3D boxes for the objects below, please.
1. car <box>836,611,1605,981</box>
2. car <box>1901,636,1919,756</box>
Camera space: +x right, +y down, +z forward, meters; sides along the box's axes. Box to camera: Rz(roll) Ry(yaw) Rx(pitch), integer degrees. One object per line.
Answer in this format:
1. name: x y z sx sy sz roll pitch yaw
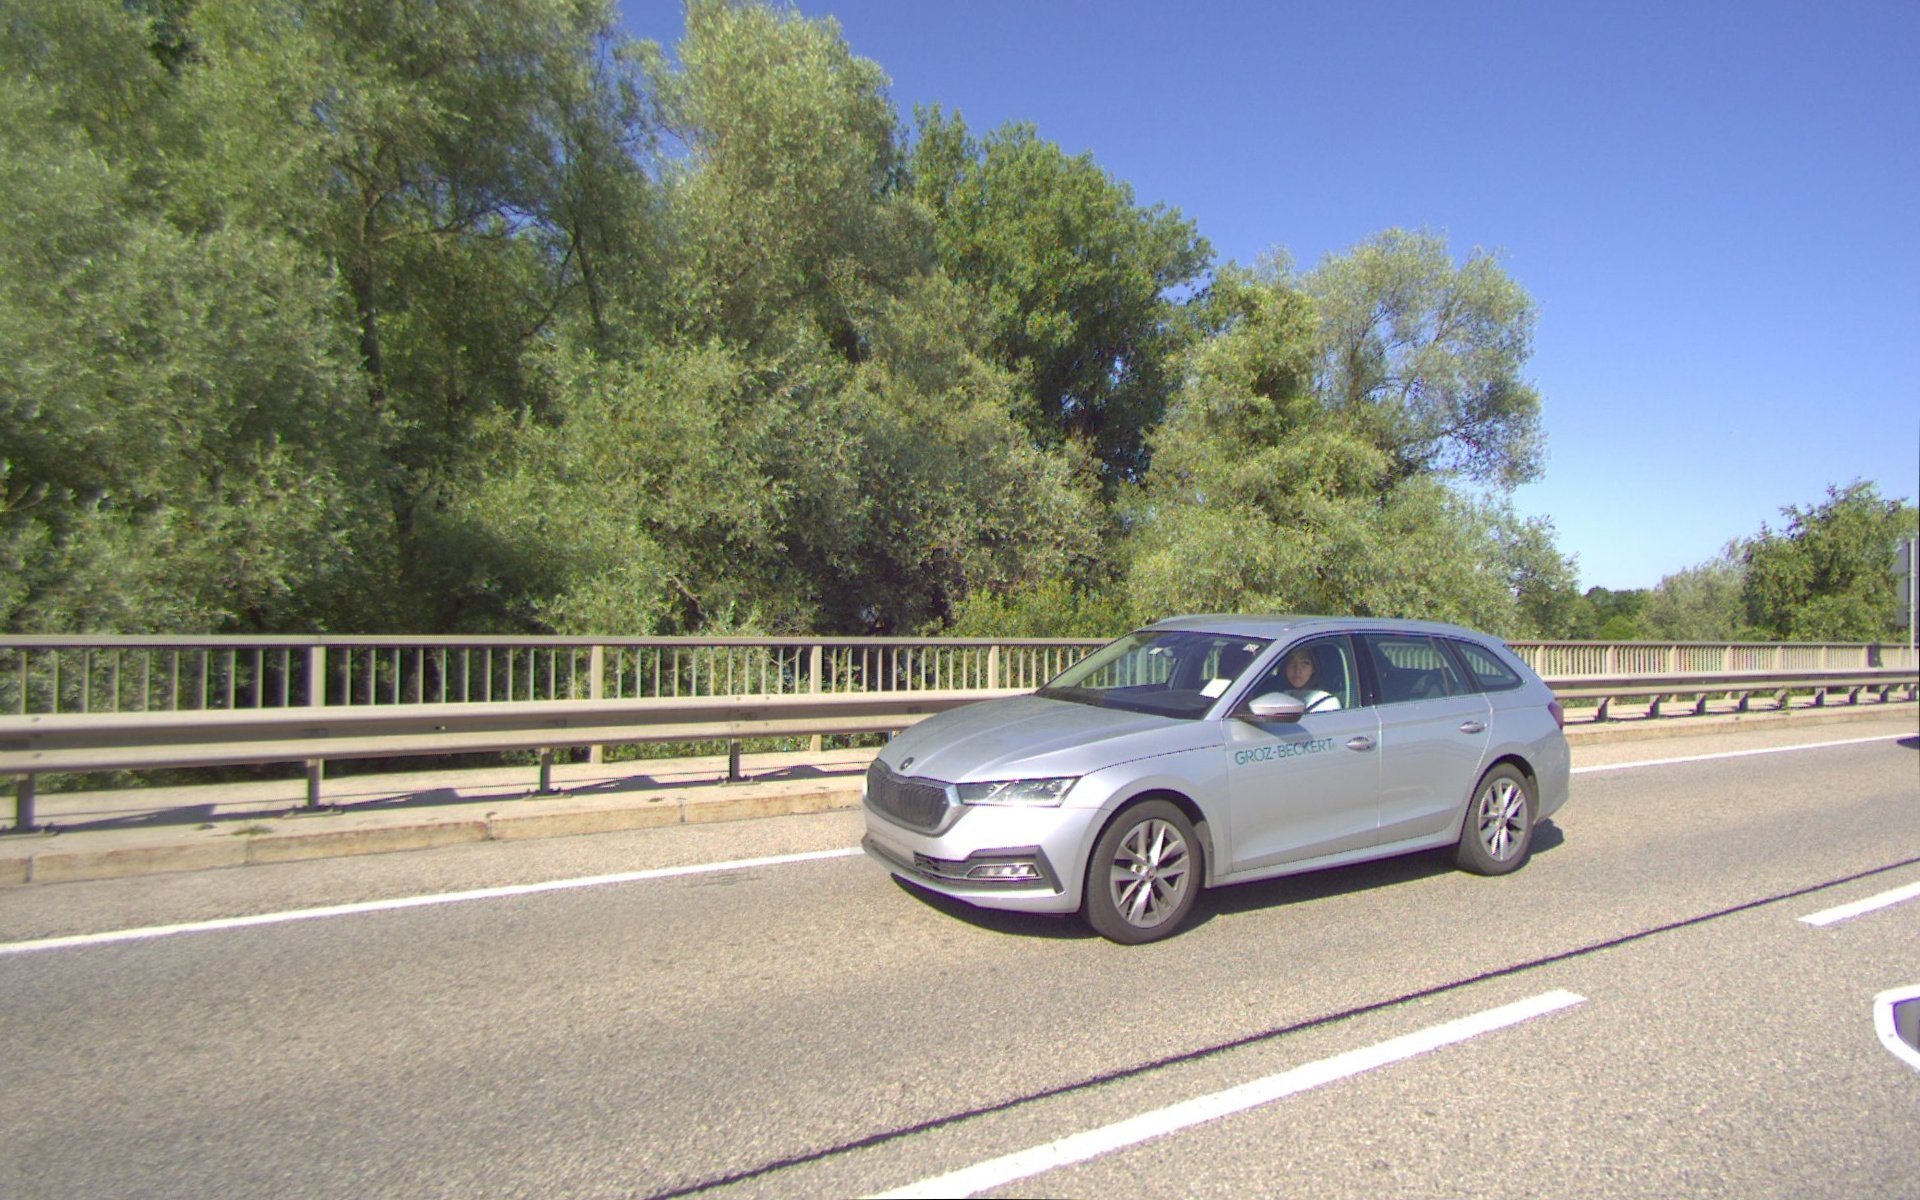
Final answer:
1. car: 1.670 0.834 5.841 4.435 1.455 1.723 2 -1 -31
2. car: 13.835 1.198 12.530 4.595 1.439 1.779 2 -1 -29
